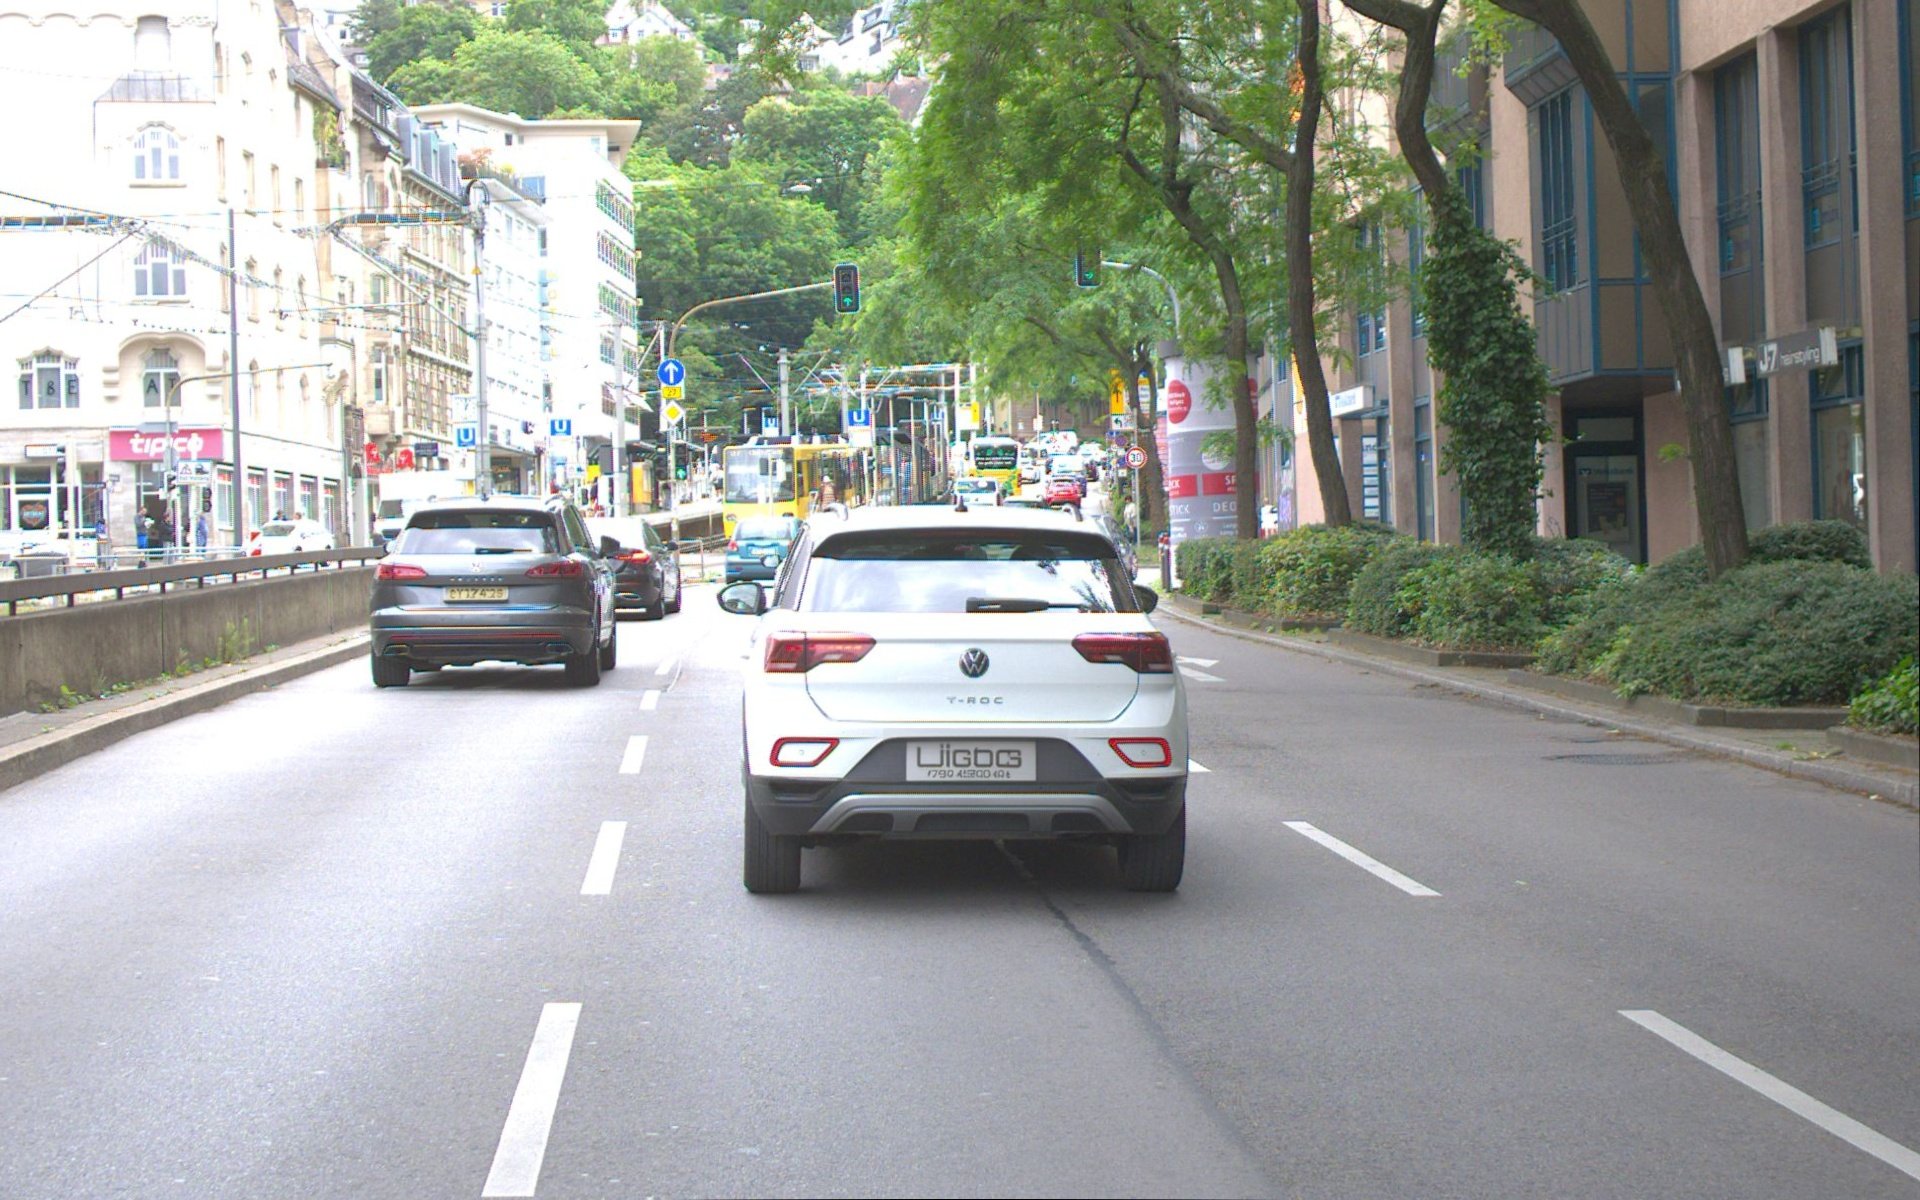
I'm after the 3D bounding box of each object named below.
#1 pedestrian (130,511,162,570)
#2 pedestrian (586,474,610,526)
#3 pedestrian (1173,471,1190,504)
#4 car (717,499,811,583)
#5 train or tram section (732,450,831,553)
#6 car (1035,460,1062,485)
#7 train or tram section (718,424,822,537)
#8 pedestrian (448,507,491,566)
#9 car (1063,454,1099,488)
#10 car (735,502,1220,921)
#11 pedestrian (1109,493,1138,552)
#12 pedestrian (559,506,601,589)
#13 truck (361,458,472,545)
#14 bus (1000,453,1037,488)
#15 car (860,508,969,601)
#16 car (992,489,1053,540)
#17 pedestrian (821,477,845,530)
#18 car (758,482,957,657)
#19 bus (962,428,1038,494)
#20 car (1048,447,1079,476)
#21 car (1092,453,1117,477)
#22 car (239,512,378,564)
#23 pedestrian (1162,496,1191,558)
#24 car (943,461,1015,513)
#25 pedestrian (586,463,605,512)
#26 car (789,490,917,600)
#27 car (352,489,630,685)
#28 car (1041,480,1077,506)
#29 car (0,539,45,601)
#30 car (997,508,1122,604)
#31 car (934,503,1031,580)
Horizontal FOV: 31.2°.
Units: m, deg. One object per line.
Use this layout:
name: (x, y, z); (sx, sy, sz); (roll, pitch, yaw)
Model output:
pedestrian: (-24.710, -1.796, 104.387); (0.710, 1.773, 0.595); (0, 1, 19)
pedestrian: (-12.216, -3.375, 116.036); (0.627, 1.756, 0.846); (-1, 1, 4)
pedestrian: (10.692, -5.422, 165.922); (0.635, 1.609, 0.588); (0, 1, -17)
car: (-4.092, -1.232, 71.500); (1.884, 1.678, 4.162); (0, 1, -4)
train or tram section: (-6.210, -3.465, 120.401); (2.835, 3.508, 5.752); (0, 2, 3)
car: (5.799, -8.327, 225.179); (1.673, 1.555, 3.678); (0, 1, 3)
train or tram section: (-6.304, -3.984, 114.610); (2.835, 3.666, 5.752); (0, 2, 3)
pedestrian: (-14.107, -1.828, 98.902); (0.876, 1.699, 0.811); (0, 1, 32)
car: (7.400, -7.923, 210.723); (1.993, 2.007, 4.000); (0, 1, -1)
car: (-0.066, 0.378, 15.071); (1.837, 1.578, 4.157); (0, 1, -4)
pedestrian: (5.028, -2.393, 105.909); (0.693, 1.771, 0.689); (-5, 1, -1)
pedestrian: (-7.955, -1.111, 71.945); (0.764, 1.715, 0.637); (-1, 1, 3)
truck: (-19.628, -3.536, 124.505); (2.267, 3.065, 7.373); (0, 1, 5)
bus: (3.525, -7.817, 207.618); (1.993, 2.007, 4.001); (0, 1, -2)
car: (-1.025, -1.030, 77.032); (2.364, 2.007, 5.148); (0, 1, -1)
car: (2.128, -2.880, 116.211); (1.885, 1.678, 4.161); (0, 1, 3)
pedestrian: (-4.107, -3.125, 110.966); (0.685, 1.705, 0.712); (-1, 2, 3)
car: (-1.102, -0.333, 35.019); (1.884, 1.678, 4.162); (0, 1, -4)
bus: (2.073, -6.925, 172.830); (3.372, 3.054, 13.324); (0, 1, 3)
car: (5.897, -7.869, 195.047); (1.673, 1.555, 3.678); (0, 1, 3)
car: (9.755, -9.152, 232.542); (1.673, 1.555, 3.678); (0, 1, 3)
car: (-19.933, -1.893, 105.339); (1.751, 1.555, 4.507); (1, 1, 28)
pedestrian: (6.598, -2.225, 104.572); (0.721, 1.796, 0.835); (-3, 4, -1)
car: (0.776, -4.448, 136.251); (2.365, 2.007, 5.147); (0, 1, 6)
pedestrian: (-12.868, -3.980, 121.380); (0.635, 1.705, 0.690); (-1, 2, -6)
car: (-1.726, -0.876, 54.317); (1.884, 1.678, 4.162); (0, 1, -4)
car: (-4.134, -0.140, 30.918); (1.993, 1.630, 4.000); (-1, 1, -1)
car: (4.628, -5.007, 160.502); (1.582, 1.168, 3.678); (0, 1, 3)
car: (-24.341, -0.753, 86.475); (1.664, 1.496, 4.044); (-1, 1, -2)
car: (2.105, -0.977, 74.337); (2.364, 2.007, 5.149); (0, 1, -2)
car: (0.555, -1.576, 91.826); (2.364, 2.007, 5.149); (0, 1, -2)
